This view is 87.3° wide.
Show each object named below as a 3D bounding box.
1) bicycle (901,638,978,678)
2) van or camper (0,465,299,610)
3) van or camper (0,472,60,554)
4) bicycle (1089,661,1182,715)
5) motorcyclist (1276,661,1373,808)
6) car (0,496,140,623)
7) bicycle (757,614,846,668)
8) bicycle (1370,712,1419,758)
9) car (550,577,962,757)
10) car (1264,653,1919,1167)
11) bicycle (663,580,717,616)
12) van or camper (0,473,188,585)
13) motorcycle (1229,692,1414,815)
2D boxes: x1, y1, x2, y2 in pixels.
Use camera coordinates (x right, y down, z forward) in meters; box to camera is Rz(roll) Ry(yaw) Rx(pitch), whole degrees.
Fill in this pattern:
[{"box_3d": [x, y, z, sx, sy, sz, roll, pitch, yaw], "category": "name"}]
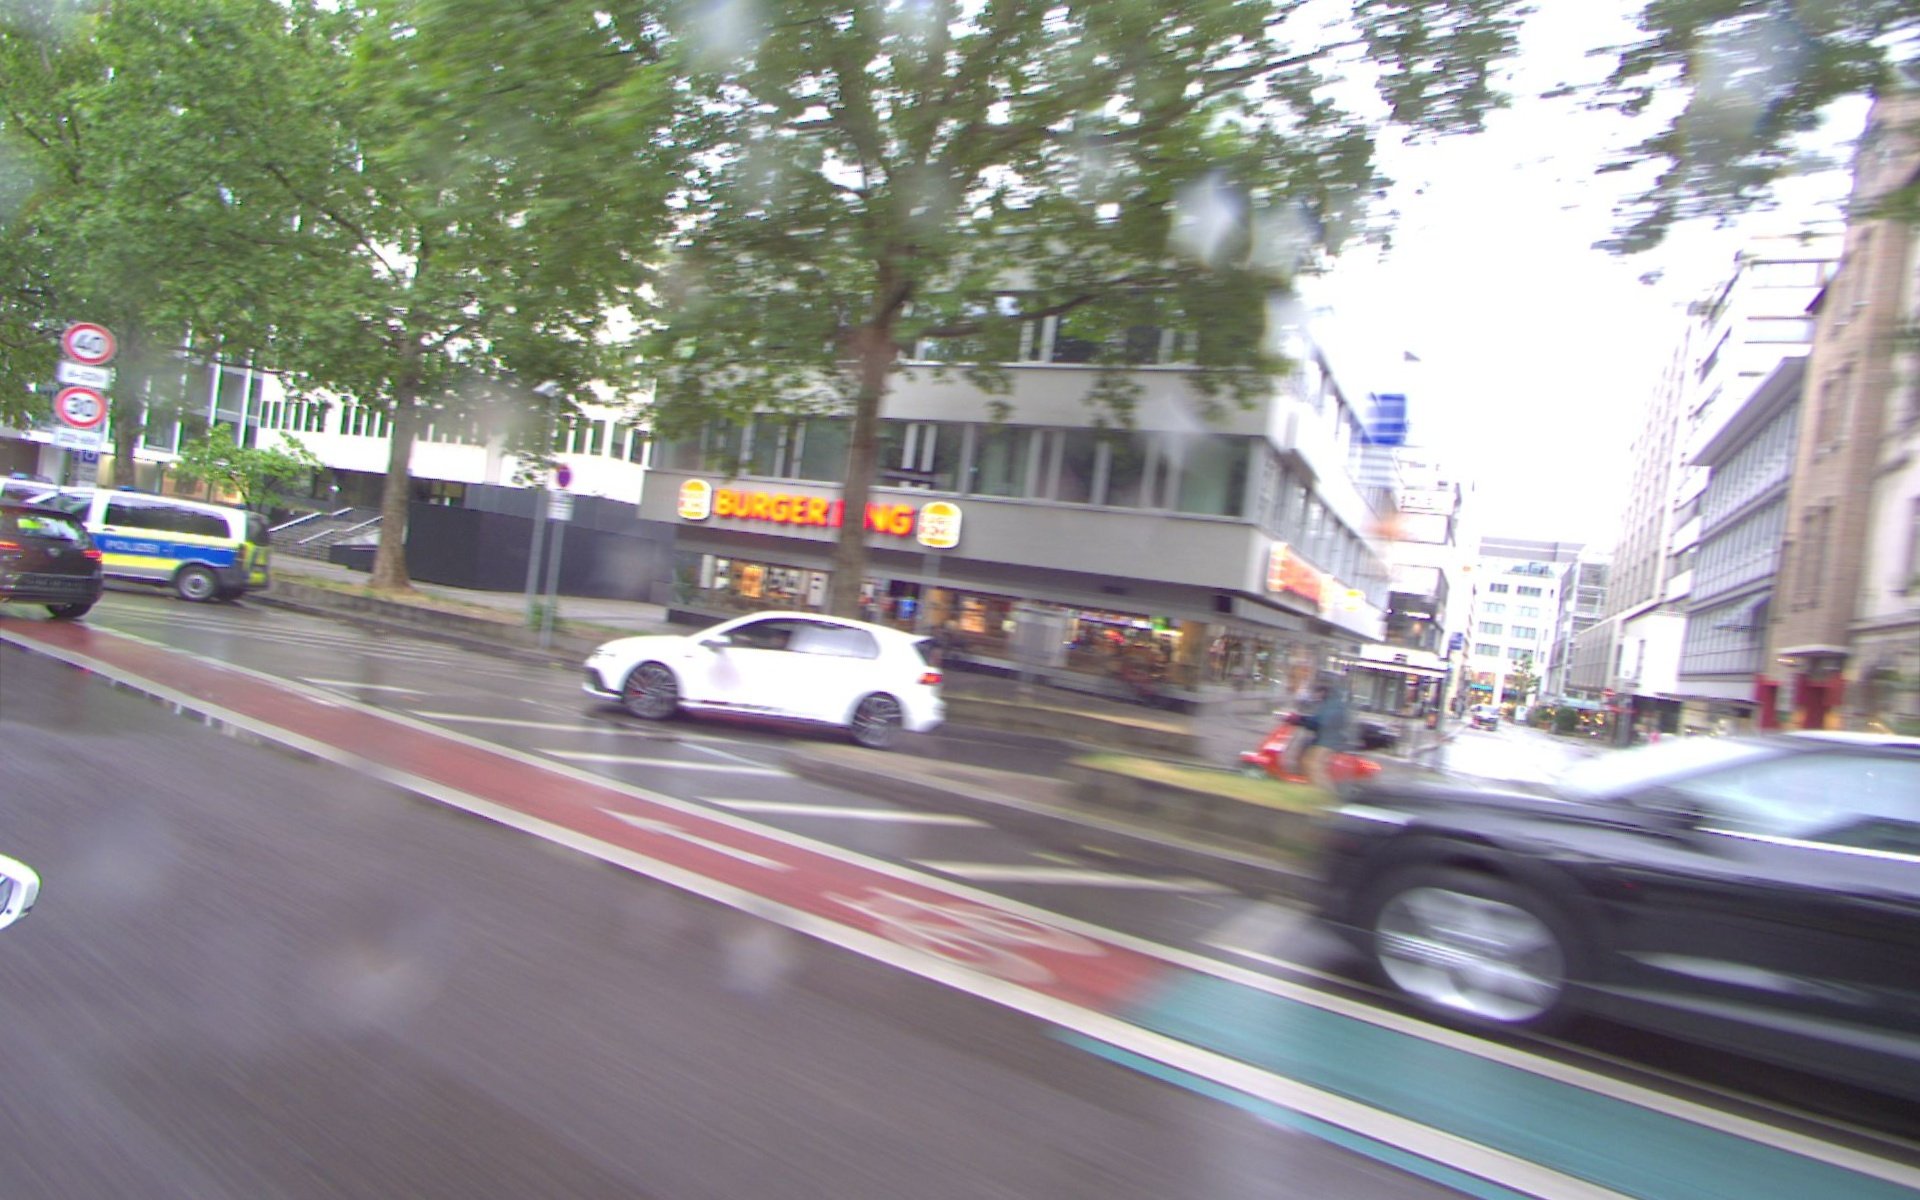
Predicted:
[{"box_3d": [-0.540, 1.551, 26.933, 1.878, 0.829, 0.643, 7, 0, 23], "category": "bicycle"}, {"box_3d": [-16.084, -1.178, 19.564, 4.881, 2.014, 1.993, 9, -2, -21], "category": "van or camper"}, {"box_3d": [-27.327, -2.615, 26.540, 4.791, 2.021, 1.858, 8, -1, -23], "category": "van or camper"}, {"box_3d": [4.214, 2.099, 24.255, 2.040, 0.907, 0.583, 9, 3, 29], "category": "bicycle"}, {"box_3d": [4.573, 1.663, 12.699, 0.855, 1.664, 0.850, 7, 0, 13], "category": "motorcyclist"}, {"box_3d": [-12.890, -0.681, 12.589, 3.924, 1.430, 1.772, 7, 0, 8], "category": "car"}, {"box_3d": [-3.556, 0.905, 22.521, 1.880, 0.935, 0.642, 8, 2, 28], "category": "bicycle"}, {"box_3d": [10.224, 3.161, 23.634, 0.615, 0.948, 1.969, 7, -1, 35], "category": "bicycle"}, {"box_3d": [-2.360, 0.793, 12.295, 4.432, 1.462, 1.866, 8, -1, -8], "category": "car"}, {"box_3d": [3.913, 1.385, 4.683, 4.349, 1.621, 1.797, 7, -2, 30], "category": "car"}, {"box_3d": [-11.246, -0.083, 41.898, 2.249, 1.187, 0.687, 7, 0, 31], "category": "bicycle"}, {"box_3d": [-21.367, -1.760, 23.255, 5.024, 2.042, 1.987, 9, -2, -23], "category": "van or camper"}, {"box_3d": [4.505, 1.901, 12.712, 1.983, 1.156, 0.869, 8, -1, 13], "category": "motorcycle"}]
